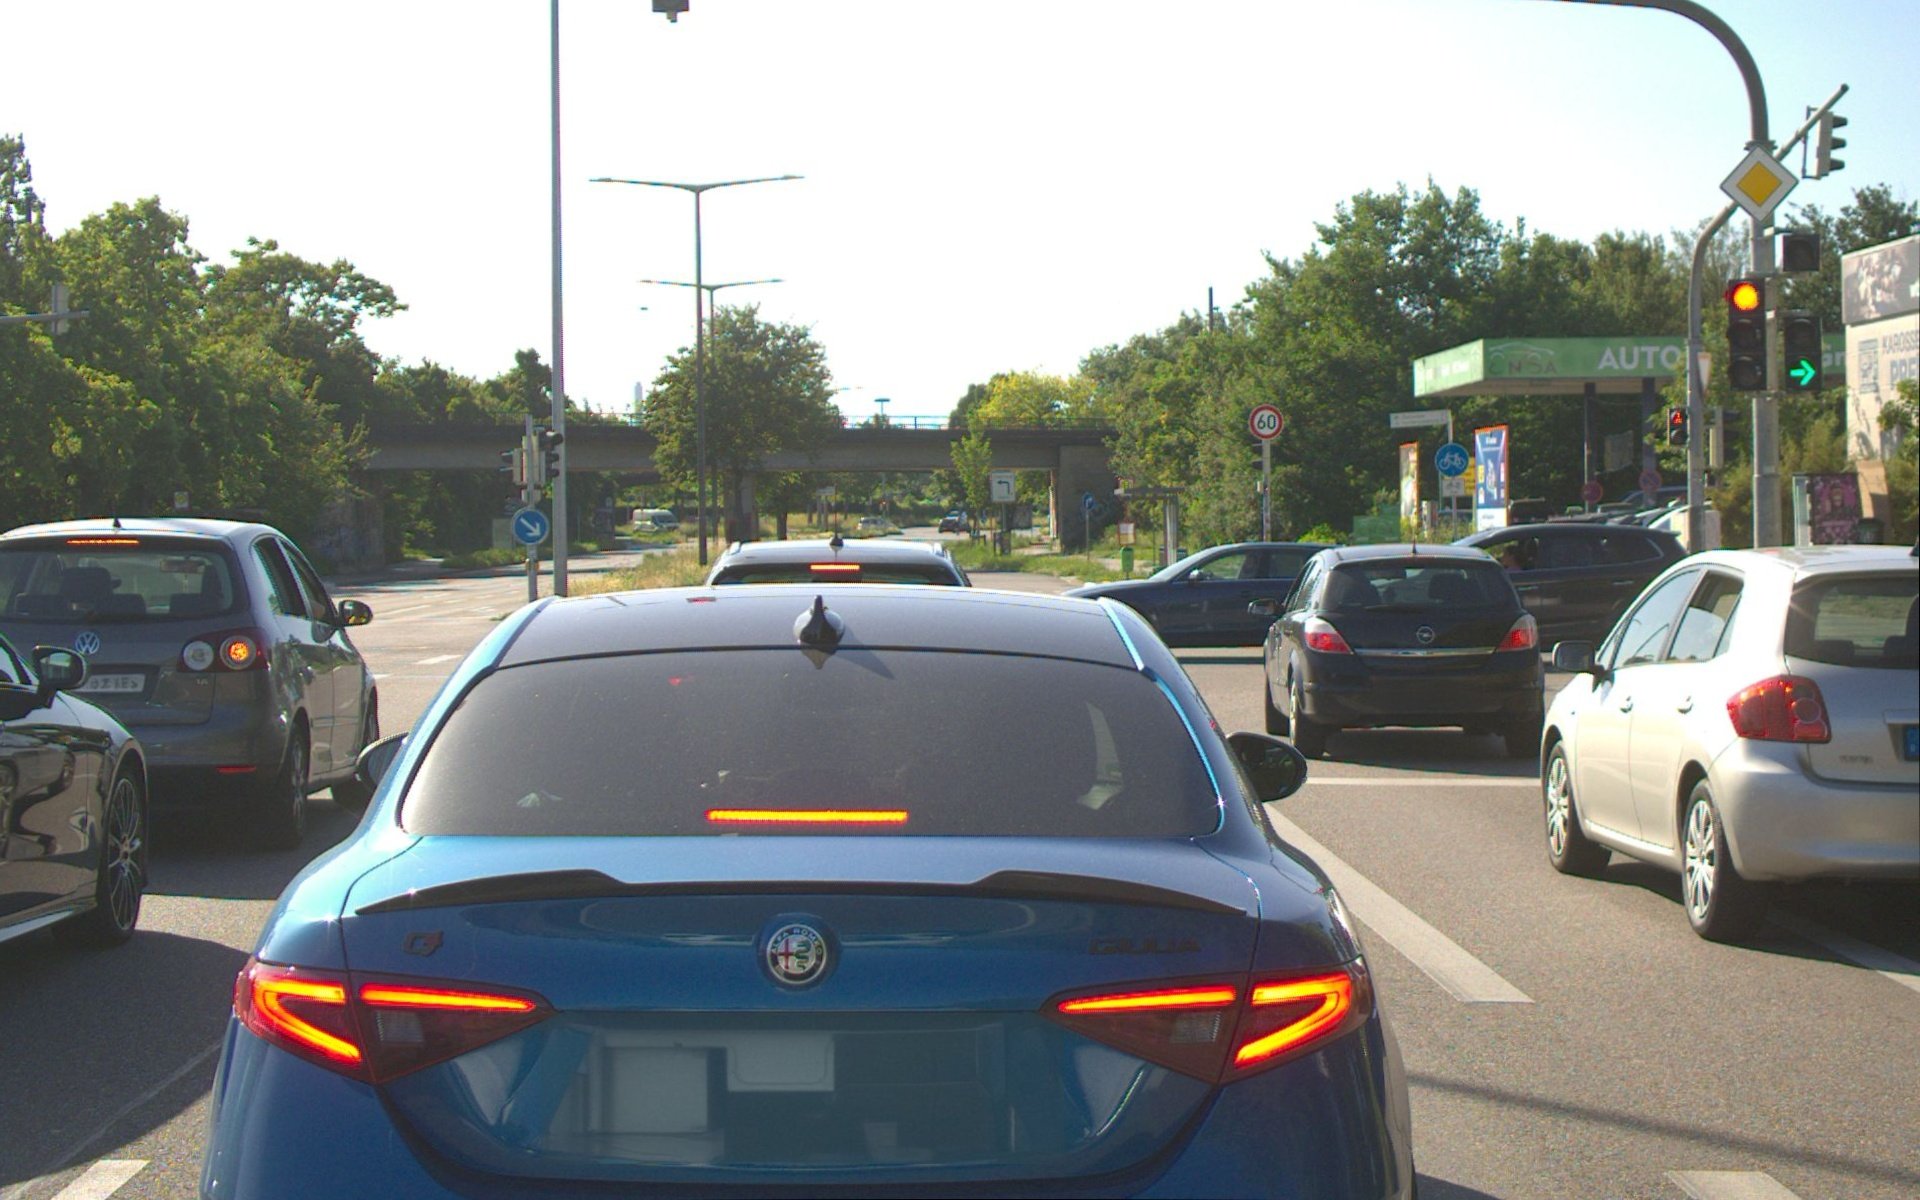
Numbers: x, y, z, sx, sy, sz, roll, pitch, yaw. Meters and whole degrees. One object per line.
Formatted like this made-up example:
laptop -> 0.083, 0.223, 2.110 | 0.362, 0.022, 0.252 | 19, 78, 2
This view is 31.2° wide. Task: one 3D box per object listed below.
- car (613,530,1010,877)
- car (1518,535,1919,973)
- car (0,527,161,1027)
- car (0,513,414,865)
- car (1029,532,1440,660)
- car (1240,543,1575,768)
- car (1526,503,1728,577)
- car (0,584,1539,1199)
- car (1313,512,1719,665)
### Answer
car -> -0.623, 0.436, 16.919 | 1.704, 1.492, 3.719 | 1, 0, 1
car -> 3.580, 0.519, 14.272 | 1.783, 1.531, 4.108 | 1, 1, -1
car -> -3.869, 0.541, 10.665 | 1.812, 1.546, 4.544 | 0, 1, -1
car -> -3.955, 0.373, 17.426 | 1.812, 1.546, 4.354 | 1, 1, -2
car -> 3.311, -0.057, 42.066 | 4.818, 1.463, 1.759 | 1, 0, -2
car -> 3.079, 0.322, 24.473 | 1.734, 1.437, 4.372 | 1, 1, -1
car -> 14.459, -1.296, 74.697 | 3.987, 1.547, 2.000 | 1, 0, 1
car -> -0.215, 0.701, 6.126 | 1.910, 1.418, 3.719 | 1, 1, 1
car -> 6.262, -0.137, 39.024 | 4.306, 1.644, 1.638 | 1, 0, -1
